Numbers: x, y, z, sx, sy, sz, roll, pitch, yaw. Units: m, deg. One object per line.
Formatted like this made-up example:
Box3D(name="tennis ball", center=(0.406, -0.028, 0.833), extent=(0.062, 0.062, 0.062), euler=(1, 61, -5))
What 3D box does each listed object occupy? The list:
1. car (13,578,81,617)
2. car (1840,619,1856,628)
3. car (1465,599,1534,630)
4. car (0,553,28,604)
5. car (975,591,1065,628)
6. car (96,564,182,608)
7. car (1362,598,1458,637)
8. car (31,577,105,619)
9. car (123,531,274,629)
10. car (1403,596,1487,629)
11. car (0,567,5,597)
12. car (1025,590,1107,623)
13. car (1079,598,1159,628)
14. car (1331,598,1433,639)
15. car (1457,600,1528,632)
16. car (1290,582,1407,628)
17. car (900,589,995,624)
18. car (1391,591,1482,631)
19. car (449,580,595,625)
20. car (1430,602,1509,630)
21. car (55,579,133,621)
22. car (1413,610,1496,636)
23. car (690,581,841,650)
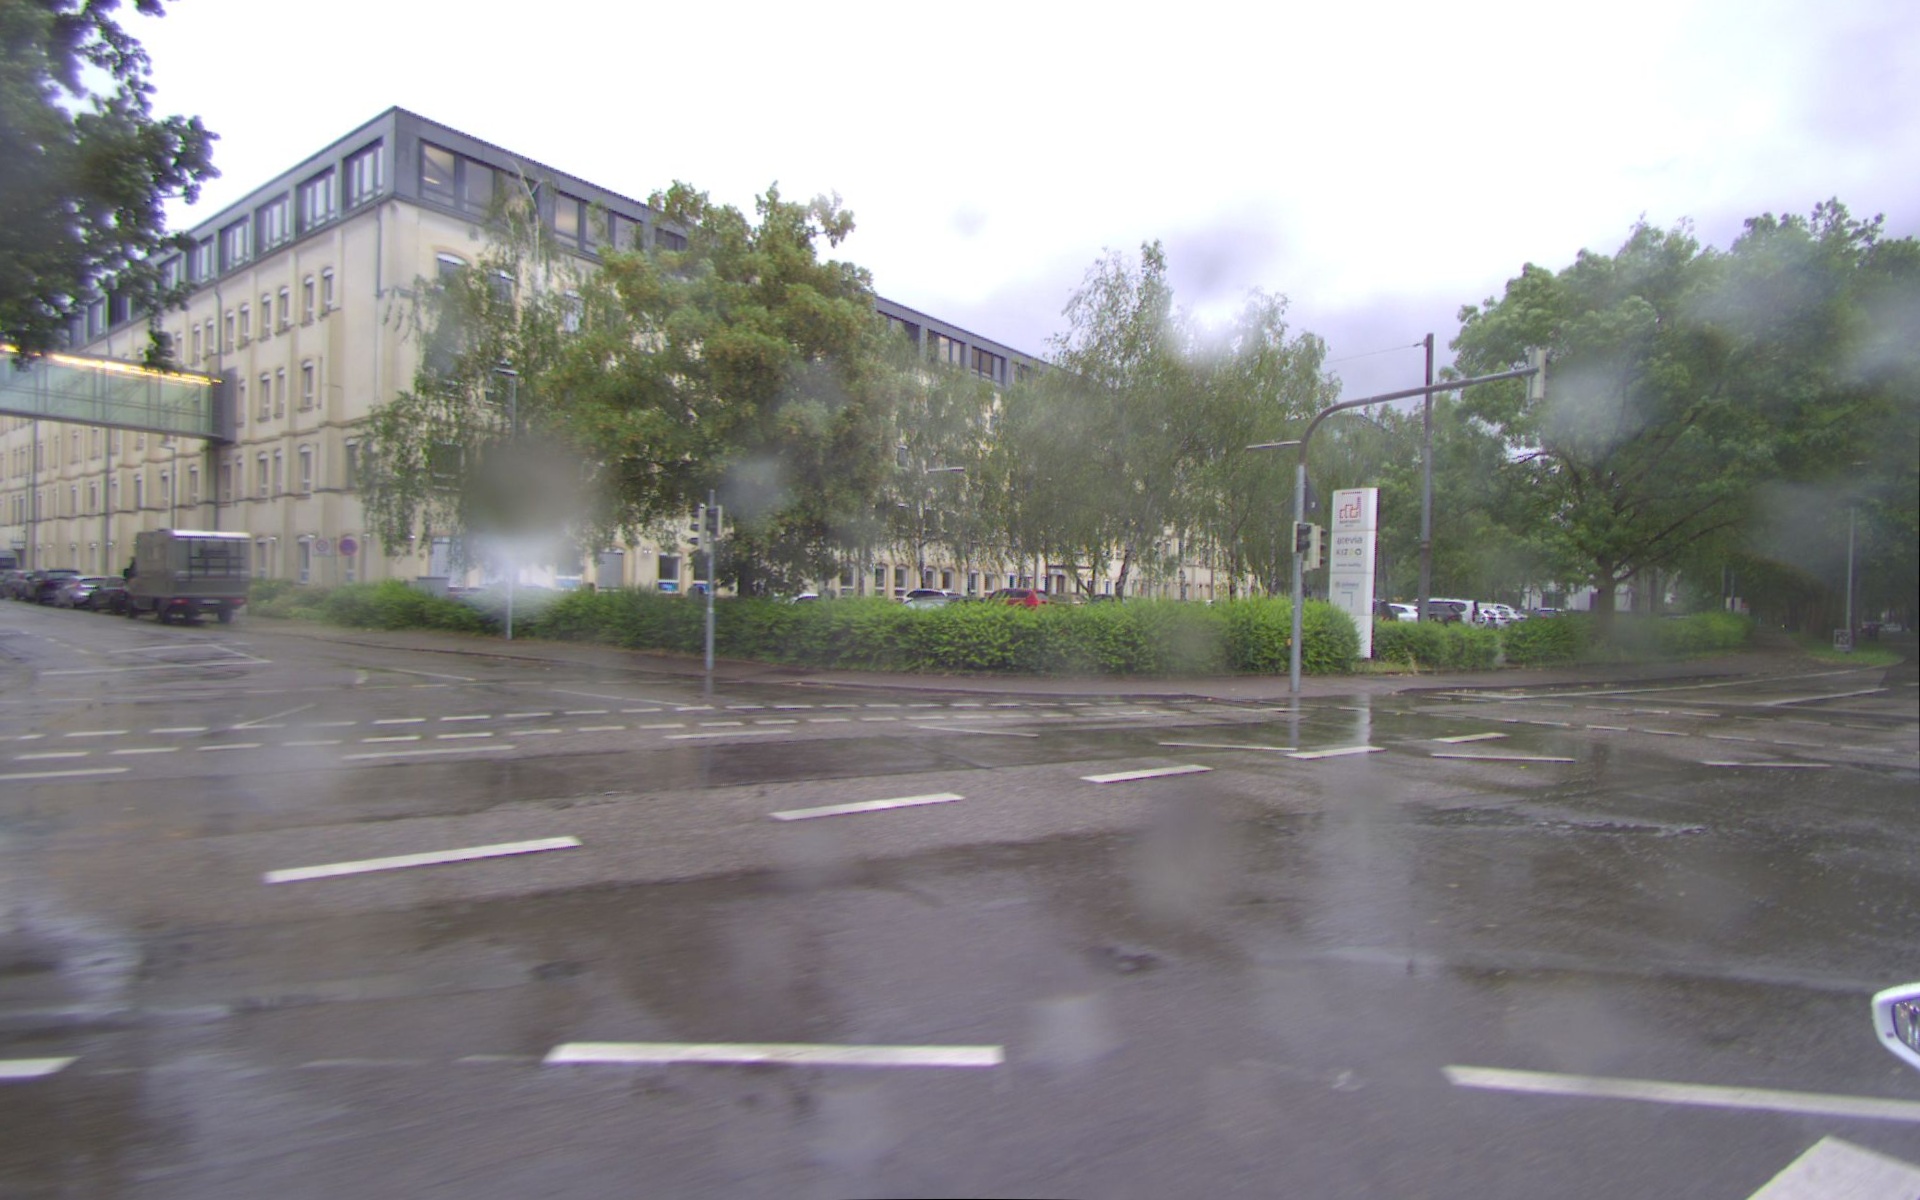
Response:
Box3D(name="car", center=(-46.592, -0.146, 51.261), extent=(3.938, 1.840, 1.991), euler=(3, 2, 39))
Box3D(name="car", center=(139.925, 3.667, 158.254), extent=(1.685, 1.430, 3.628), euler=(-1, -1, 39))
Box3D(name="car", center=(37.500, 0.962, 69.858), extent=(3.940, 2.040, 1.990), euler=(1, 0, 41))
Box3D(name="car", center=(-55.970, -1.300, 58.049), extent=(5.527, 2.910, 2.326), euler=(3, 2, 39))
Box3D(name="car", center=(2.925, 0.445, 49.288), extent=(3.932, 1.709, 1.994), euler=(1, 0, 34))
Box3D(name="car", center=(-33.560, -0.585, 41.040), extent=(3.937, 1.679, 1.886), euler=(3, 2, 38))
Box3D(name="car", center=(21.875, 0.824, 48.876), extent=(3.940, 1.660, 1.701), euler=(3, 2, 40))
Box3D(name="car", center=(-42.246, -0.118, 47.531), extent=(3.938, 1.840, 1.991), euler=(3, 2, 39))
Box3D(name="car", center=(-27.438, -0.757, 36.125), extent=(6.117, 3.237, 2.827), euler=(3, 2, 38))
Box3D(name="car", center=(25.902, 0.649, 53.684), extent=(3.757, 1.620, 1.712), euler=(3, 2, 37))
Box3D(name="car", center=(-61.937, -1.218, 62.933), extent=(5.527, 1.835, 2.326), euler=(3, 2, 39))
Box3D(name="car", center=(5.616, 0.326, 53.376), extent=(3.937, 1.709, 1.992), euler=(1, 0, 38))
Box3D(name="car", center=(9.030, 0.729, 57.187), extent=(3.937, 1.580, 2.155), euler=(1, 0, 38))
Box3D(name="car", center=(19.278, 0.814, 45.914), extent=(3.935, 1.660, 1.993), euler=(3, 2, 36))
Box3D(name="car", center=(35.957, 1.058, 67.881), extent=(3.940, 2.040, 1.990), euler=(1, 0, 41))
Box3D(name="car", center=(15.272, 0.177, 39.562), extent=(3.944, 1.633, 1.641), euler=(3, 2, 44))
Box3D(name="car", center=(-0.596, 0.271, 45.661), extent=(3.937, 1.539, 1.992), euler=(1, 0, 38))
Box3D(name="car", center=(24.437, 0.532, 51.548), extent=(3.935, 1.857, 1.848), euler=(3, 2, 36))
Box3D(name="car", center=(-15.964, 0.079, 36.805), extent=(1.969, 1.520, 4.513), euler=(3, 2, 38))
Box3D(name="car", center=(31.129, 0.961, 61.413), extent=(3.943, 1.571, 1.875), euler=(2, 1, 43))
Box3D(name="car", center=(-38.275, -0.018, 44.365), extent=(3.937, 1.704, 1.886), euler=(3, 2, 38))
Box3D(name="car", center=(28.782, 1.317, 58.522), extent=(3.943, 1.392, 1.875), euler=(1, 0, 43))
Box3D(name="car", center=(-5.194, 0.385, 27.318), extent=(1.752, 1.709, 4.014), euler=(1, 0, 33))
